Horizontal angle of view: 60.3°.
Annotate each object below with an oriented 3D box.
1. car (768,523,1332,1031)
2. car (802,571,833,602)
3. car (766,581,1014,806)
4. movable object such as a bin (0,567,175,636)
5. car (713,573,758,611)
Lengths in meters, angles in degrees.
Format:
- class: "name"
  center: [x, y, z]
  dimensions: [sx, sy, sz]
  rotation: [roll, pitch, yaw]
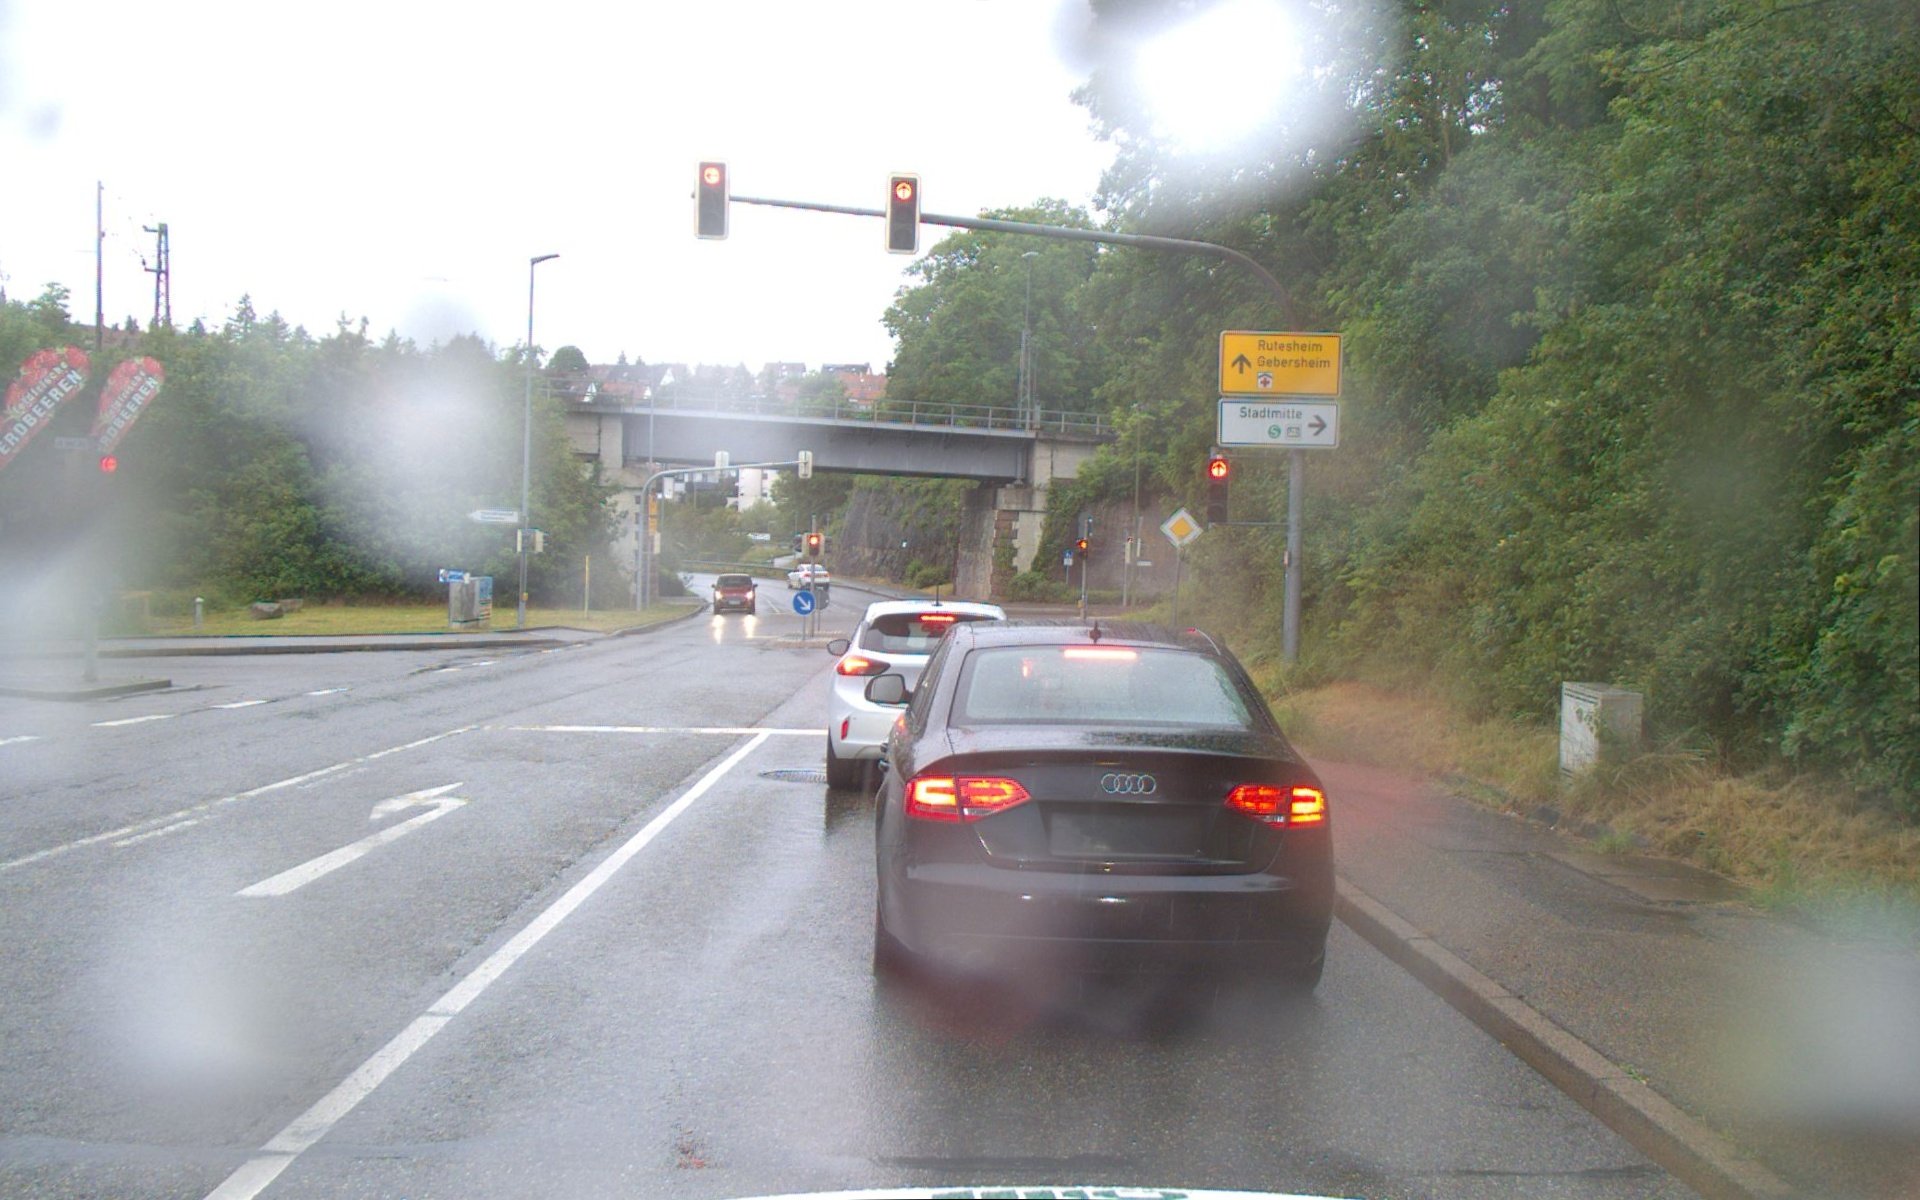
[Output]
- class: "car"
  center: [0.269, 0.610, 7.411]
  dimensions: [1.832, 1.645, 3.999]
  rotation: [1, -1, -1]
- class: "car"
  center: [-8.765, -0.788, 101.382]
  dimensions: [1.770, 1.773, 4.474]
  rotation: [1, -1, -6]
- class: "car"
  center: [-0.540, 0.712, 14.025]
  dimensions: [1.786, 1.613, 3.999]
  rotation: [1, -1, -1]
- class: "movable object such as a bin"
  center: [-23.412, 0.054, 41.933]
  dimensions: [2.699, 1.656, 5.752]
  rotation: [0, -1, 39]
- class: "car"
  center: [-10.155, -0.356, 74.790]
  dimensions: [1.956, 1.657, 3.993]
  rotation: [0, 0, -8]
